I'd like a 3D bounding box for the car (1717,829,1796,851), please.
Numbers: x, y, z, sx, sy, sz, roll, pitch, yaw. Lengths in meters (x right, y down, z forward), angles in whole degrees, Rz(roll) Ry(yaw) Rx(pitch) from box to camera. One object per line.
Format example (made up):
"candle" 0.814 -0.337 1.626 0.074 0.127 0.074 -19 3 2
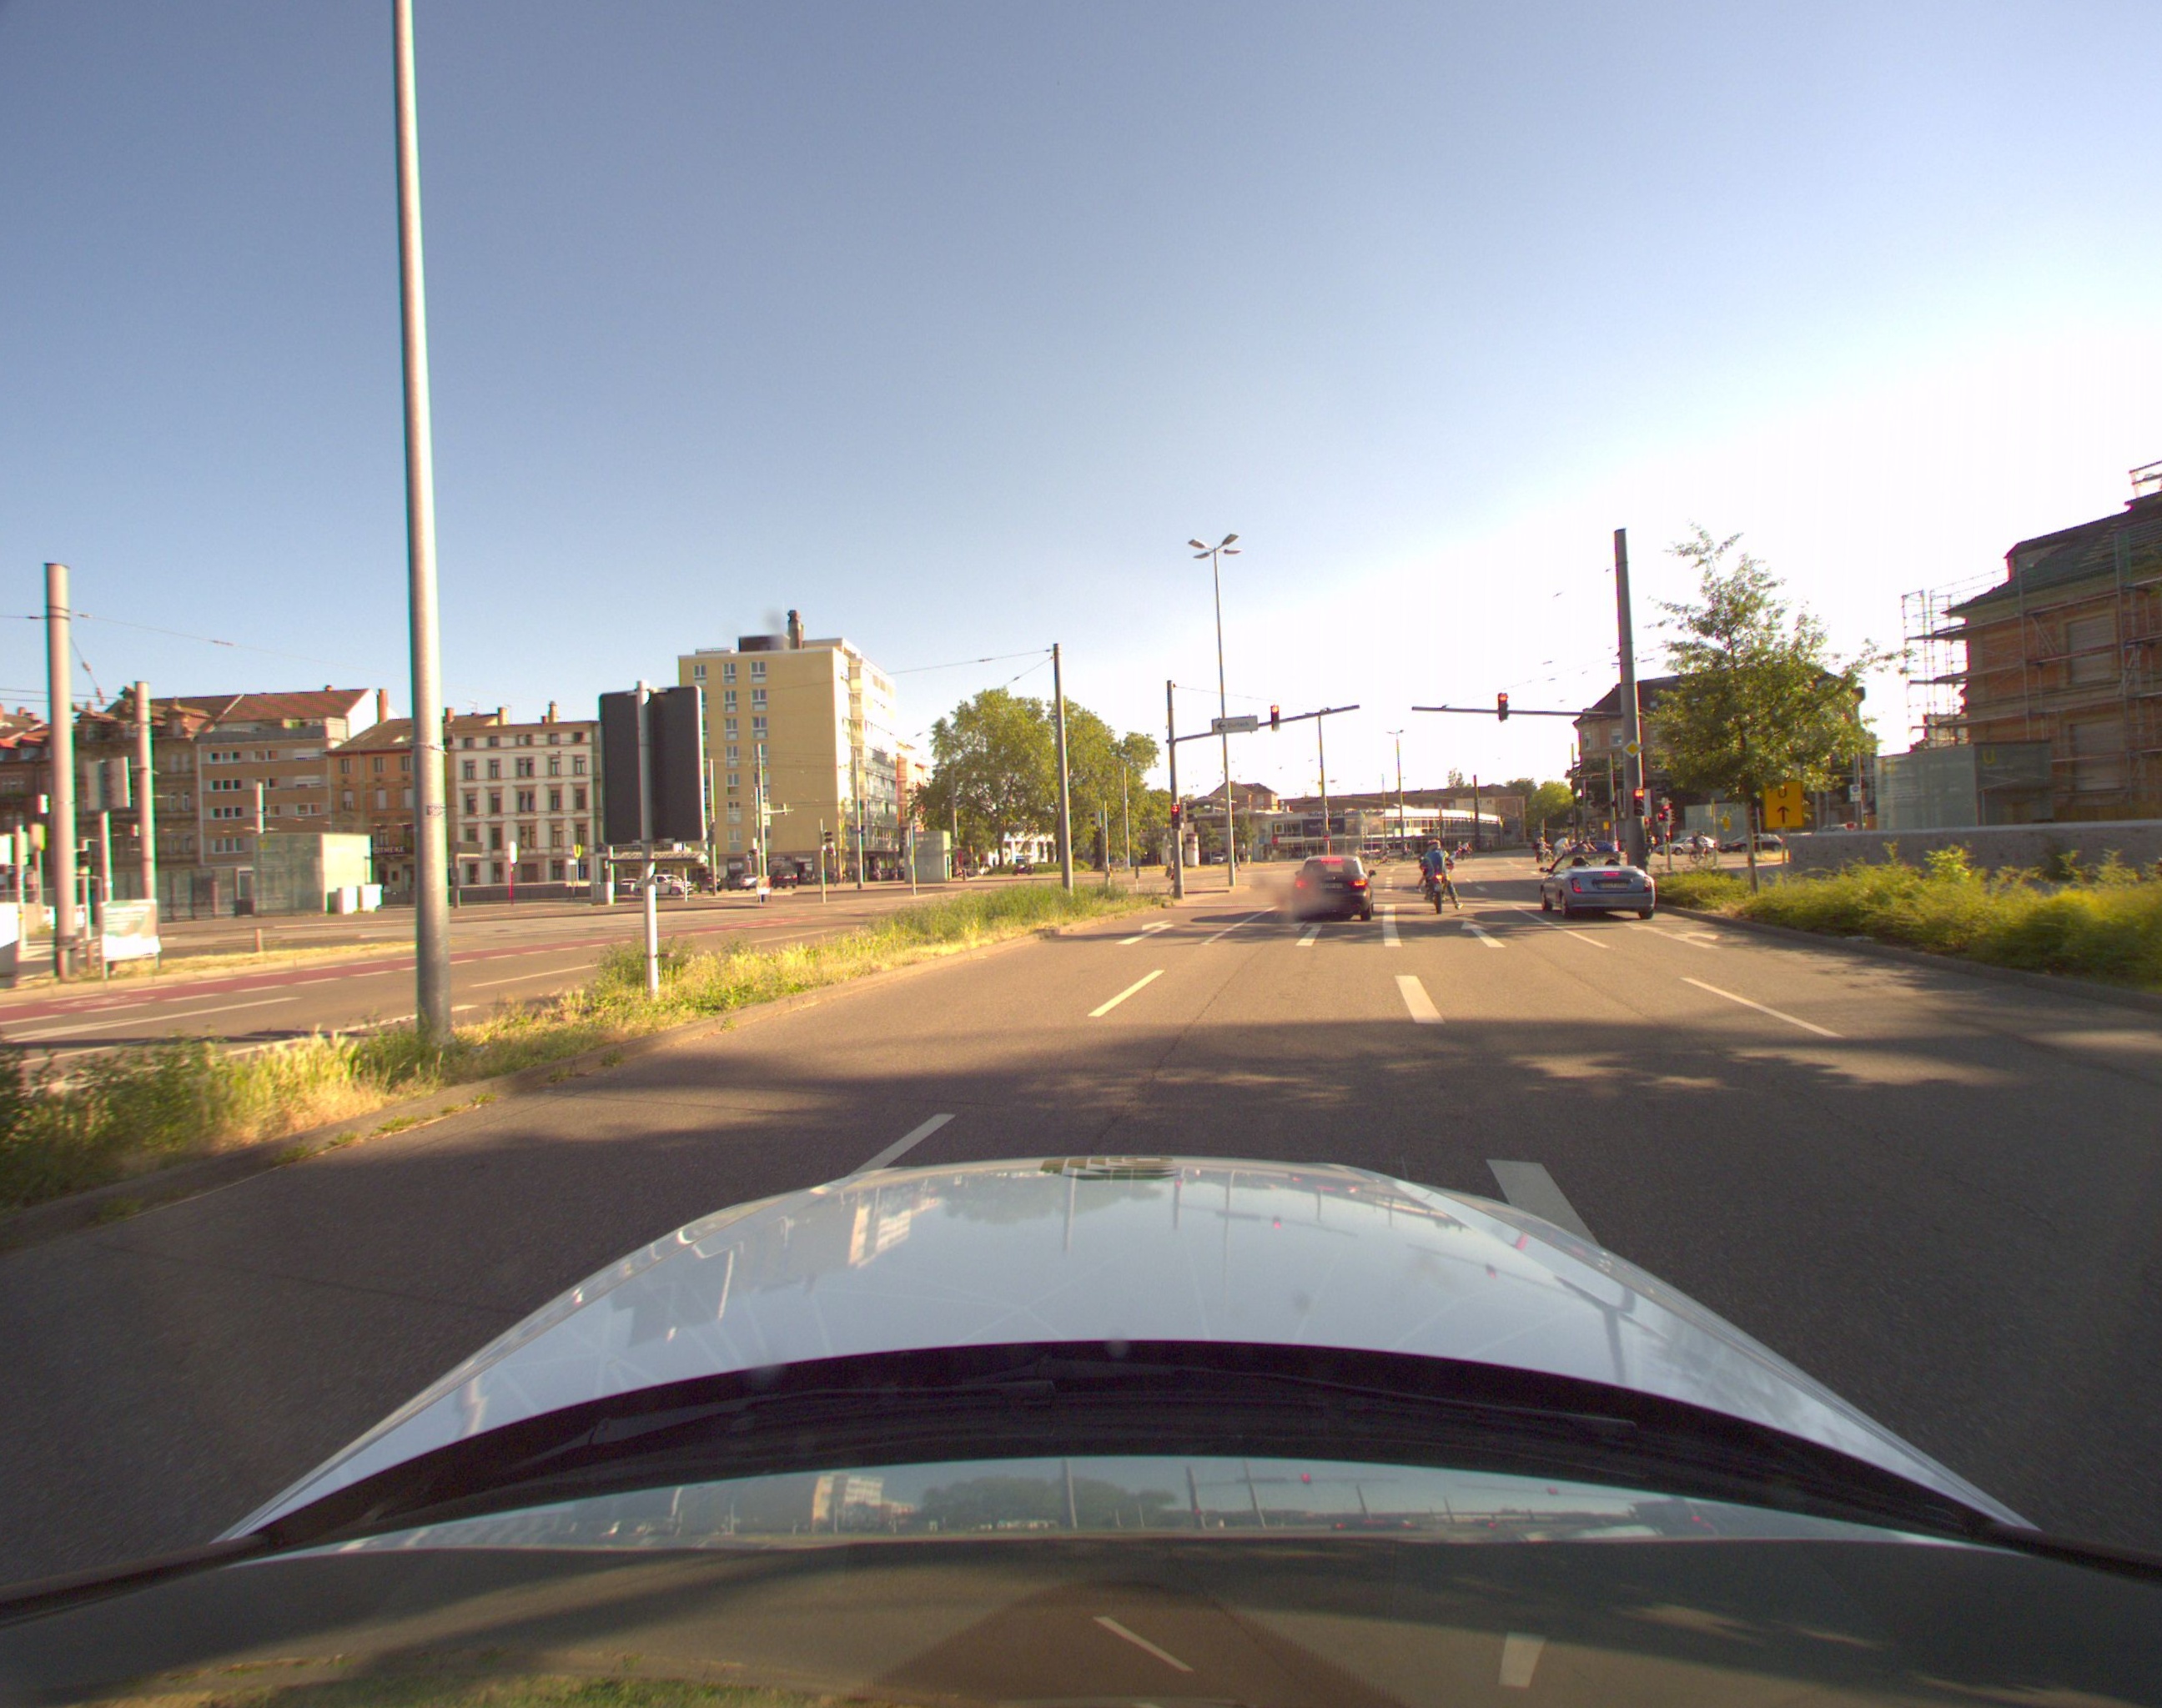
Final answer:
"car" 50.503 -1.024 60.980 4.062 1.486 1.960 -2 -1 11

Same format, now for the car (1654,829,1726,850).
"car" 47.889 -1.100 64.091 4.069 1.452 1.959 -2 -1 10

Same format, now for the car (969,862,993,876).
"car" -11.308 1.687 91.989 1.838 1.452 4.006 -2 0 5

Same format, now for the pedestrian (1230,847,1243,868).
"pedestrian" 14.010 0.304 73.196 0.981 1.816 0.925 -2 1 19

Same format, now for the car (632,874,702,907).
"car" -28.728 2.495 56.563 3.720 2.013 2.001 -2 1 1

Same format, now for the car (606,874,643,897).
"car" -39.353 2.715 70.202 2.097 1.719 3.964 -3 2 -38

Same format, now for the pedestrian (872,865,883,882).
"pedestrian" -20.135 1.927 80.662 0.772 1.676 0.783 -2 -1 4

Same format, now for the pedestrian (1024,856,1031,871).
"pedestrian" -7.505 1.316 114.592 0.583 2.014 0.714 -3 -1 21

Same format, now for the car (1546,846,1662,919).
"car" 11.619 0.555 18.345 1.784 1.444 4.002 -1 0 27

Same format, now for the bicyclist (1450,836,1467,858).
"bicyclist" 35.035 -0.658 75.603 1.066 1.900 1.124 -2 1 3

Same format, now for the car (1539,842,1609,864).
"car" 40.258 -0.079 66.642 4.562 1.594 1.964 -3 -1 21

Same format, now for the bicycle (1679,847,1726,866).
"bicycle" 34.395 0.129 45.064 2.301 0.905 0.855 -2 1 -16

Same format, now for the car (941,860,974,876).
"car" -15.975 1.758 105.577 3.993 1.857 1.844 -2 1 -14

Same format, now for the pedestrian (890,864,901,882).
"pedestrian" -18.364 1.869 80.484 0.772 1.676 0.783 -2 -1 4

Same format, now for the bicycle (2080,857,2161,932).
"bicycle" 13.982 0.501 10.117 0.715 0.952 2.257 -1 -1 12

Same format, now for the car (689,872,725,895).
"car" -31.978 2.473 69.609 1.849 1.719 3.954 -3 2 -38

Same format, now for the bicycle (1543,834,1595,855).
"bicycle" 28.403 -0.552 47.456 2.482 1.133 0.861 -2 1 3

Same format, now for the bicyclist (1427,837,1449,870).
"bicyclist" 18.822 -0.032 42.926 0.743 1.690 0.860 -2 1 0

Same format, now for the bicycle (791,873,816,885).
"bicycle" -26.490 2.378 77.661 2.034 1.090 0.777 -2 -1 1

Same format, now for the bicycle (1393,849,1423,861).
"bicycle" 29.166 0.083 72.599 2.293 0.959 0.858 -3 1 -7

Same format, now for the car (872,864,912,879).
"car" -21.076 1.916 90.706 3.976 1.422 1.812 -2 -1 -2

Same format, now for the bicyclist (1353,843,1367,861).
"bicyclist" 25.696 -0.172 75.029 0.920 1.559 0.860 -2 1 1

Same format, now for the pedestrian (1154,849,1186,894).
"pedestrian" 3.370 0.656 30.703 1.085 1.606 0.701 -2 1 10

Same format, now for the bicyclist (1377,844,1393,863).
"bicyclist" 24.720 -0.046 66.283 0.919 1.559 0.964 -2 -1 6

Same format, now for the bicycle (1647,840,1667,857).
"bicycle" 37.313 -0.348 52.748 0.782 1.039 1.975 -5 -2 29

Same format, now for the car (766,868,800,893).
"car" -25.579 2.221 69.745 1.860 1.857 3.959 -3 2 -33

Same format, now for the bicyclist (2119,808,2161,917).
"bicyclist" 13.983 0.101 10.166 0.715 1.384 1.079 -1 -2 12

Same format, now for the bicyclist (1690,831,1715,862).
"bicyclist" 34.386 -0.426 45.044 0.650 1.690 0.856 -2 1 -16

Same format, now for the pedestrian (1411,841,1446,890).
"pedestrian" 12.169 0.404 28.527 0.829 1.671 0.694 -2 -1 -18

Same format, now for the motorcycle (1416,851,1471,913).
"motorcycle" 8.639 0.628 19.500 1.086 1.377 2.667 -2 -1 22

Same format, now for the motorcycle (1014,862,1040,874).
"motorcycle" -5.089 1.352 76.845 2.272 1.054 0.689 -2 1 8

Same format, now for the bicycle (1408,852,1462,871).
"bicycle" 18.660 0.397 42.926 2.485 0.874 0.860 -2 1 -1

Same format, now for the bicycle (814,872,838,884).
"bicycle" -24.317 2.303 77.620 2.034 1.090 0.777 -2 -1 1

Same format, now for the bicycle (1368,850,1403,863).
"bicycle" 24.767 0.217 66.274 2.426 1.003 0.964 -2 -1 5

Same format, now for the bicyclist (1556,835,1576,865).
"bicyclist" 28.278 -0.250 47.470 0.646 1.690 0.861 -2 1 3

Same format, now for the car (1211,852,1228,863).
"car" 20.634 0.509 121.073 1.979 1.534 4.017 -2 2 15

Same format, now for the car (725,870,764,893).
"car" -28.713 2.348 69.461 1.849 1.748 3.953 -3 2 -40

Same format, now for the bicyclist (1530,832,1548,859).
"bicyclist" 30.642 -0.558 54.491 0.586 1.778 0.859 -2 -1 -26

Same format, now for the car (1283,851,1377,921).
"car" 5.905 0.669 19.034 1.785 1.444 3.999 -1 0 21

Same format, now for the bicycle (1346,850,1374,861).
"bicycle" 25.700 0.136 75.031 2.288 0.979 0.860 -2 1 1

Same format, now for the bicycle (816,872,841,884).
"bicycle" -24.333 2.281 78.470 2.034 1.090 0.777 -2 -1 1

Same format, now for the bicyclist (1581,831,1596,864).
"bicyclist" 27.276 -0.350 43.755 0.643 1.690 0.866 -1 1 31

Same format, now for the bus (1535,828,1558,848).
"bus" 73.180 -2.564 127.964 2.331 2.882 9.641 -1 2 34

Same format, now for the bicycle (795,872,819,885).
"bicycle" -26.389 2.361 78.535 2.034 1.090 0.777 -2 -1 1

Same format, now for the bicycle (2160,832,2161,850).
"bicycle" 21.611 0.043 15.320 0.782 1.039 1.975 -5 -2 29

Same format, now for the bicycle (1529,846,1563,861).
"bicycle" 31.284 -0.027 54.808 2.309 0.905 0.852 -3 2 -28

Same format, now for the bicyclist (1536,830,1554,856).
"bicyclist" 31.218 -0.728 54.792 0.653 1.690 0.852 -3 1 -27

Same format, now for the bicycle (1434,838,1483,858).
"bicycle" 35.020 -0.562 75.568 3.971 1.690 1.140 -2 1 2

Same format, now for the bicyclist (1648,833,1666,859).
"bicyclist" 37.251 -0.517 52.676 0.782 1.594 0.953 -5 -2 29

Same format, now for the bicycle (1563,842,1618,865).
"bicycle" 27.332 -0.028 43.726 2.469 1.133 0.866 -1 2 31

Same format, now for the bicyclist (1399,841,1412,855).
"bicyclist" 28.910 -0.544 72.562 0.711 1.143 0.836 -2 1 -6

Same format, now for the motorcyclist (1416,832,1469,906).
"motorcyclist" 8.617 0.364 19.461 1.086 1.721 0.941 -2 -1 22
